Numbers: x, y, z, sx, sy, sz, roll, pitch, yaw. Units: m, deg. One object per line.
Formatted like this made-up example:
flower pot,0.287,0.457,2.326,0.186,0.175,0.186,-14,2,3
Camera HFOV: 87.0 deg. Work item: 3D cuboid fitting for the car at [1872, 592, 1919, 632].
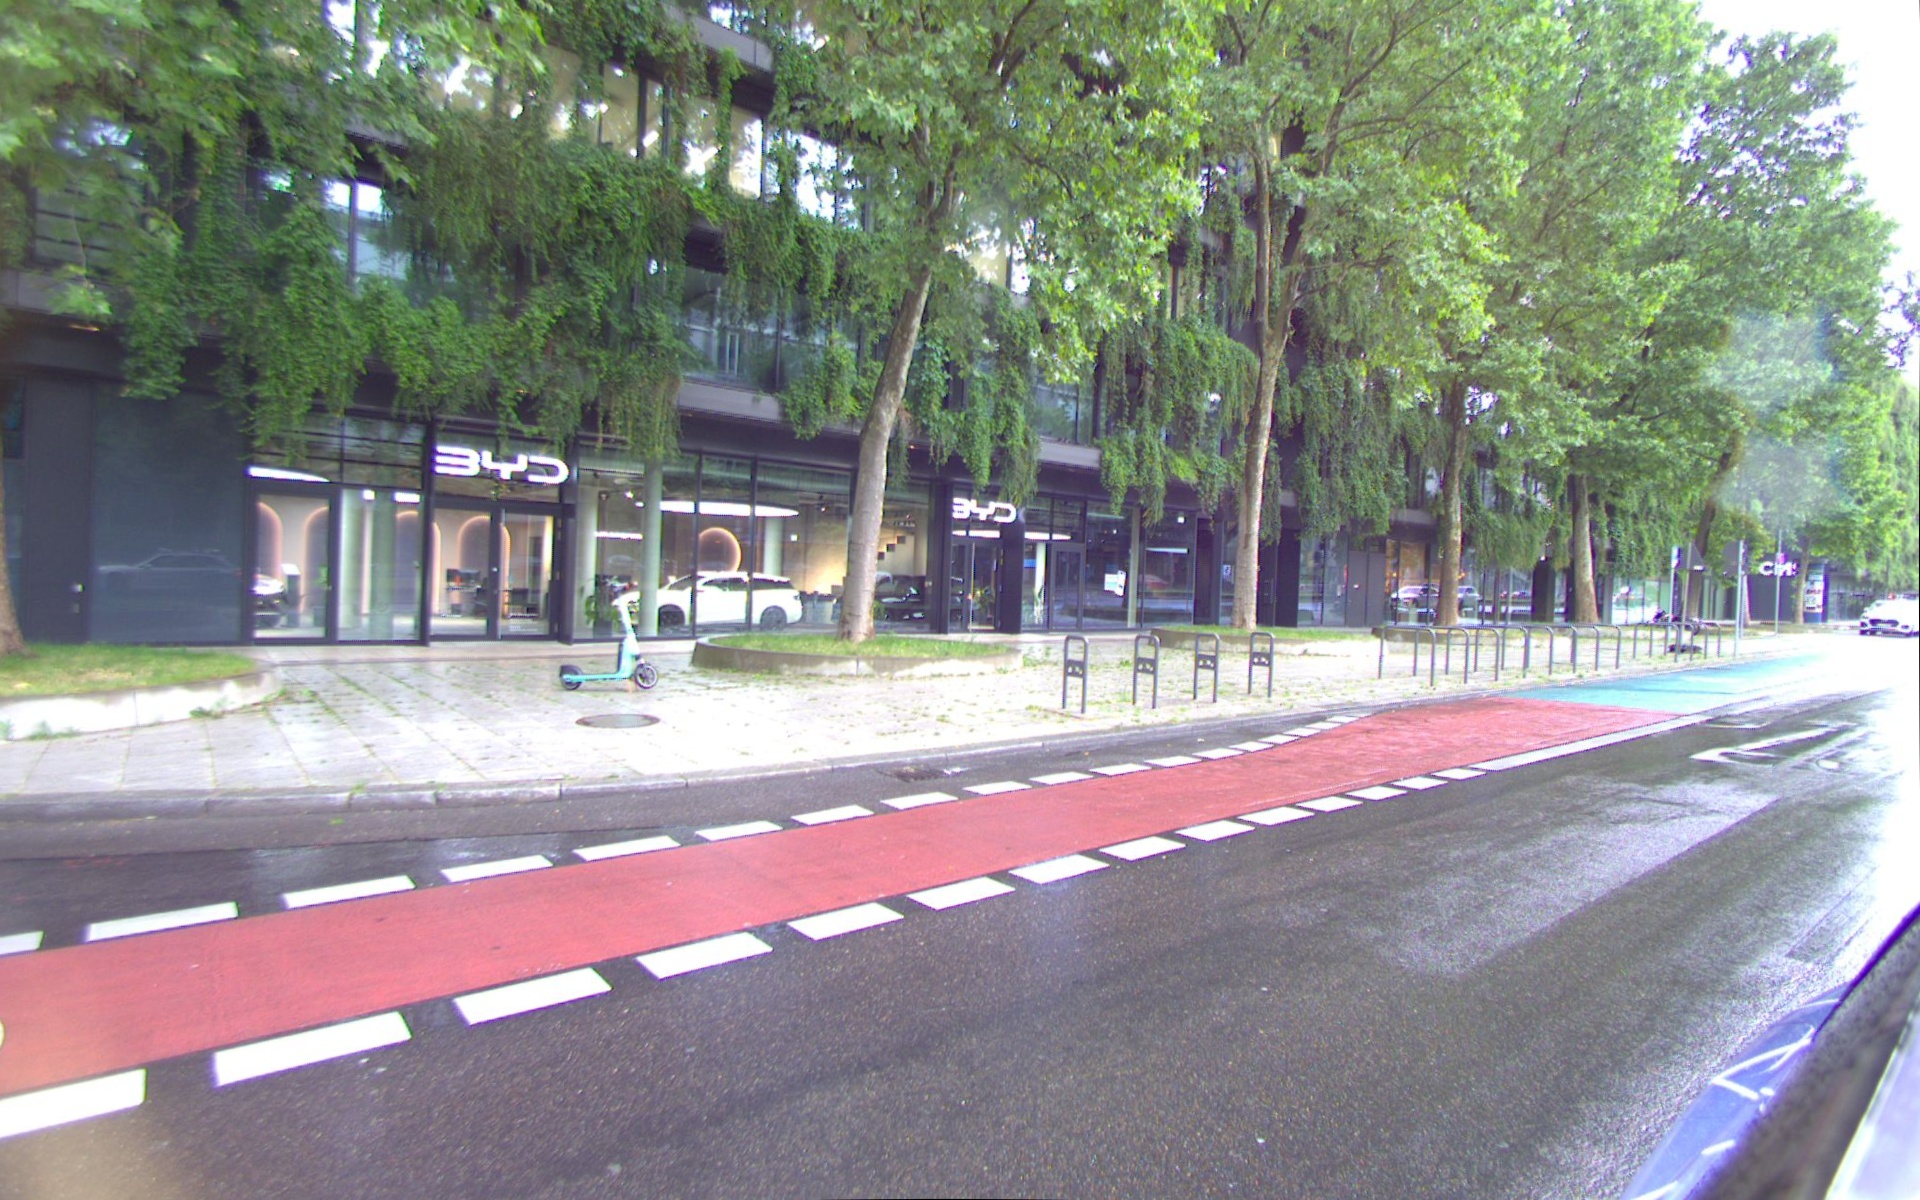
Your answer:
car,44.611,0.522,47.661,4.519,1.757,1.931,-1,1,-41

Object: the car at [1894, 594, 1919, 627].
car,49.260,0.508,51.406,4.503,1.581,2.035,-1,1,-39

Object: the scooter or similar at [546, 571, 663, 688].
scooter or similar,-4.077,0.328,11.638,1.165,1.298,0.535,0,0,10
